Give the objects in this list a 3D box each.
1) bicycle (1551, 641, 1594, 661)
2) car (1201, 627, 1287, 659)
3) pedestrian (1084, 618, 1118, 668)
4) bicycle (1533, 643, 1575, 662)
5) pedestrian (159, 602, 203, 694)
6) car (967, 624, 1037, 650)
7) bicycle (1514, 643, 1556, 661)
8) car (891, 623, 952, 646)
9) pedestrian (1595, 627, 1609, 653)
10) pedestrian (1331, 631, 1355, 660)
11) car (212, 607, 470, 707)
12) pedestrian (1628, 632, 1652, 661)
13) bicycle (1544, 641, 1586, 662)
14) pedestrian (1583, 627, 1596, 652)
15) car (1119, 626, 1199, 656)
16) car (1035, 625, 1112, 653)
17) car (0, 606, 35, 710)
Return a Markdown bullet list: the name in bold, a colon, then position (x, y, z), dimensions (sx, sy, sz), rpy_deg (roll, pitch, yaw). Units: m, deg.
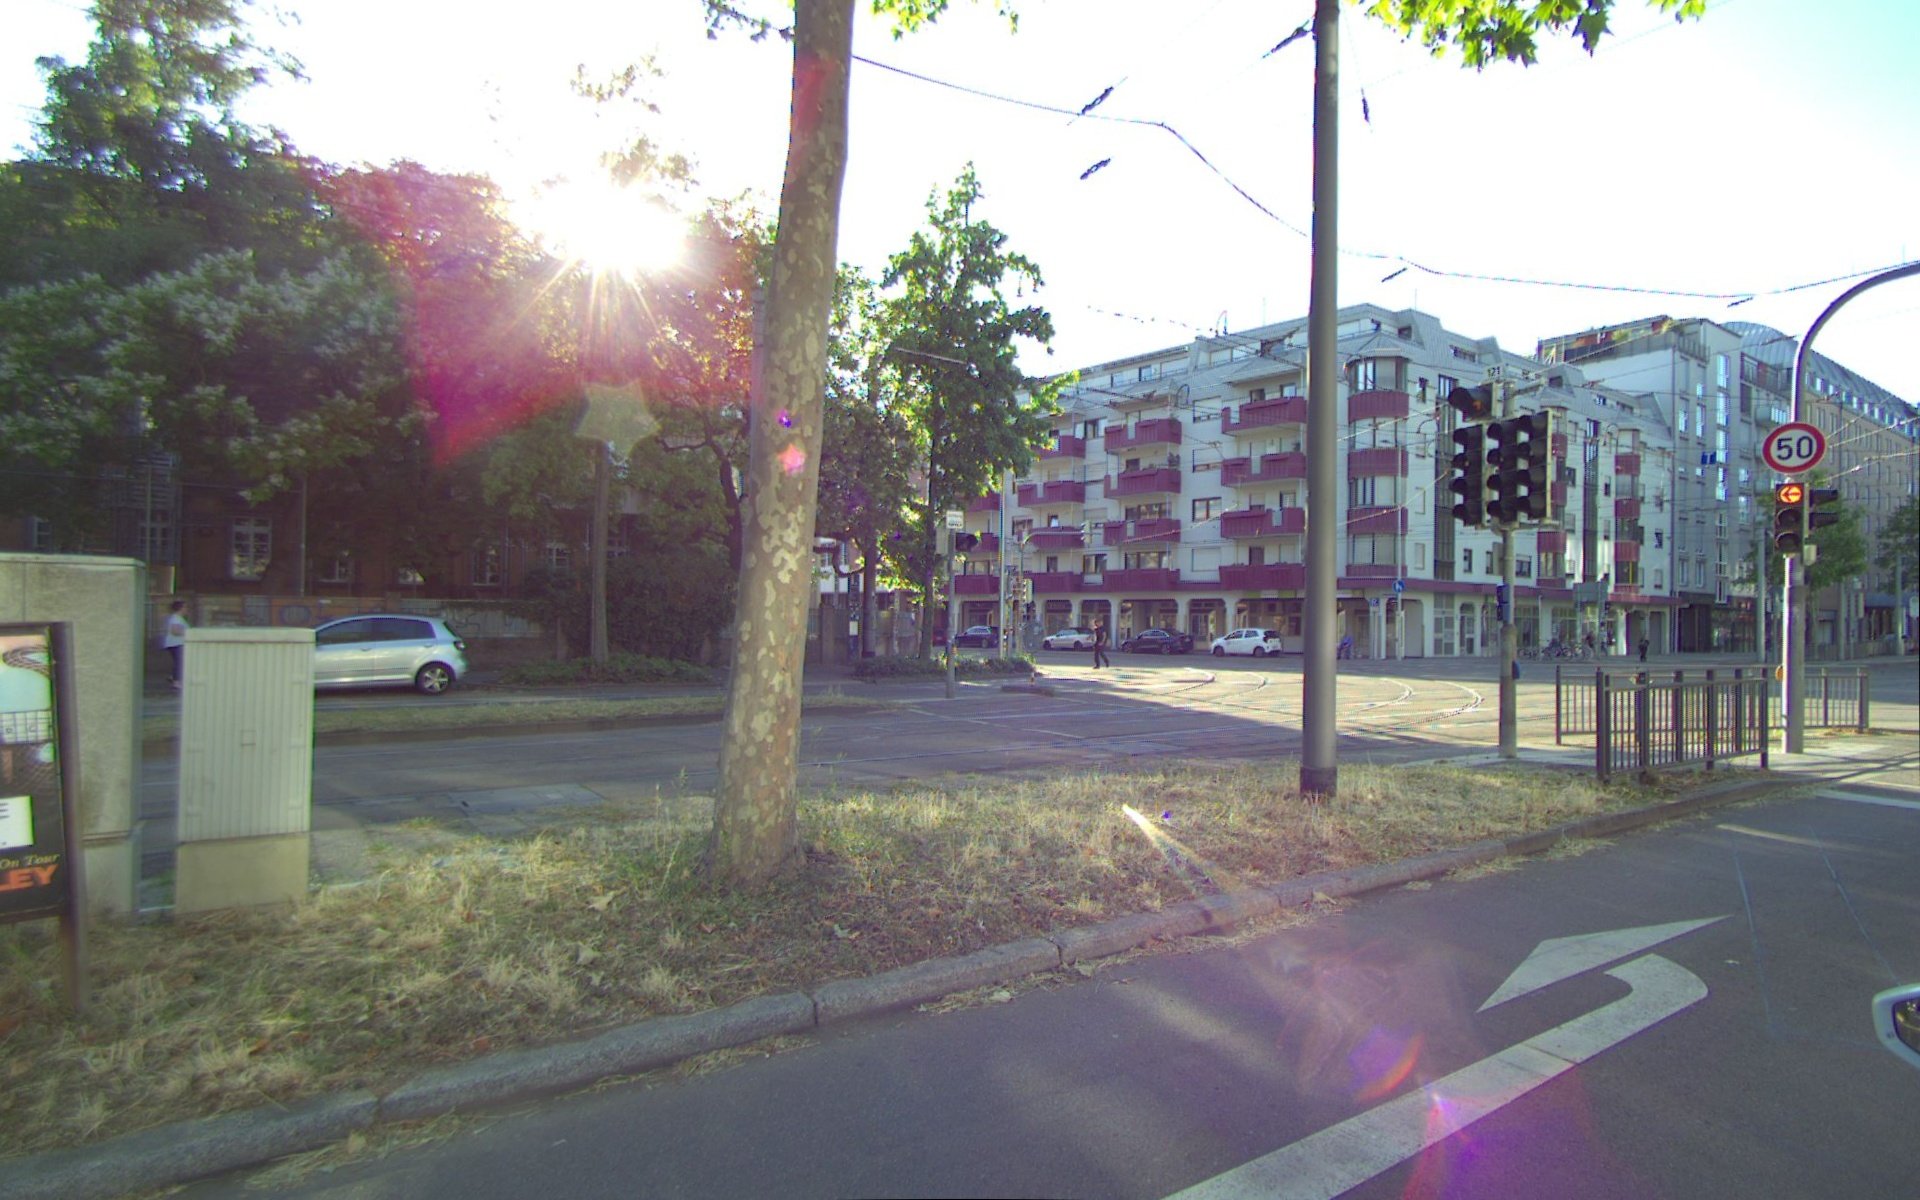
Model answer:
- **bicycle**: position (31.981, 2.649, 52.455), dimensions (0.548, 0.998, 1.830), rpy_deg (1, -1, -36)
- **car**: position (14.892, 2.240, 52.765), dimensions (1.986, 1.576, 3.950), rpy_deg (2, -2, -42)
- **pedestrian**: position (5.072, 1.541, 36.108), dimensions (1.010, 1.775, 0.728), rpy_deg (1, -1, -38)
- **bicycle**: position (30.412, 2.679, 51.450), dimensions (0.547, 0.865, 1.833), rpy_deg (1, -1, -32)
- **pedestrian**: position (-14.692, 0.899, 18.953), dimensions (0.626, 1.687, 0.563), rpy_deg (1, 1, -37)
- **car**: position (2.723, 2.408, 66.235), dimensions (1.986, 1.576, 4.527), rpy_deg (2, -2, -42)
- **bicycle**: position (29.494, 2.683, 51.530), dimensions (0.547, 0.865, 1.833), rpy_deg (1, -1, -32)
- **car**: position (-2.809, 2.439, 72.207), dimensions (1.986, 1.576, 4.527), rpy_deg (2, -2, -42)
- **pedestrian**: position (38.788, 2.412, 60.667), dimensions (0.582, 1.514, 0.530), rpy_deg (1, -1, -38)
- **pedestrian**: position (19.043, 2.252, 49.972), dimensions (0.848, 1.402, 0.831), rpy_deg (0, -1, 45)
- **car**: position (-11.967, 1.039, 19.521), dimensions (4.062, 1.641, 2.065), rpy_deg (2, 1, -38)
- **pedestrian**: position (37.926, 2.569, 56.012), dimensions (0.680, 1.564, 1.049), rpy_deg (1, -1, 3)
- **bicycle**: position (31.425, 2.670, 52.204), dimensions (0.548, 0.998, 1.830), rpy_deg (1, -1, -36)
- **pedestrian**: position (38.372, 2.402, 61.198), dimensions (0.582, 1.514, 0.530), rpy_deg (1, -1, -38)
- **car**: position (11.163, 2.264, 56.610), dimensions (1.986, 1.576, 4.072), rpy_deg (2, -2, -42)
- **car**: position (6.890, 2.345, 61.196), dimensions (1.986, 1.576, 4.527), rpy_deg (2, -2, -42)
- **car**: position (-17.120, 0.861, 15.187), dimensions (4.418, 1.522, 2.065), rpy_deg (2, 1, -38)
